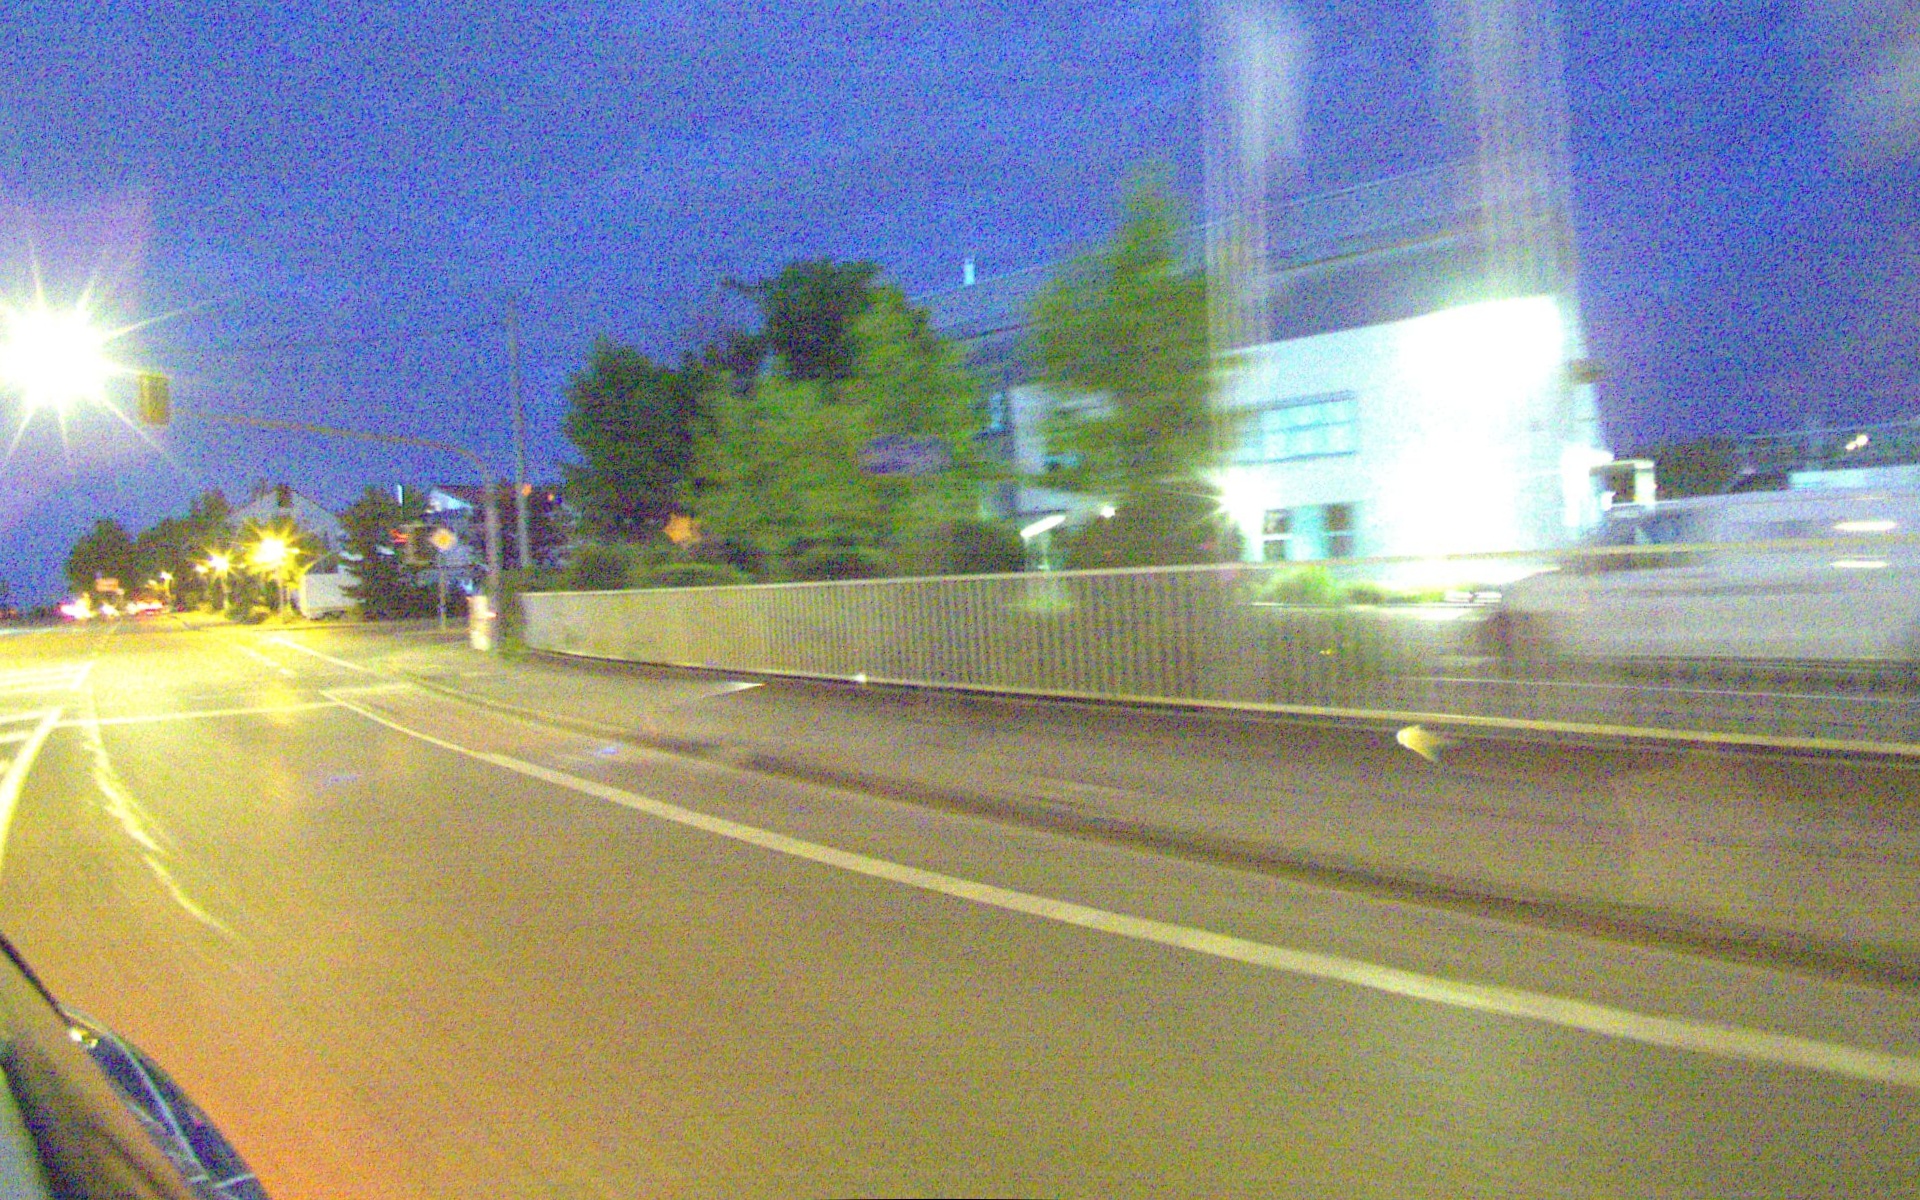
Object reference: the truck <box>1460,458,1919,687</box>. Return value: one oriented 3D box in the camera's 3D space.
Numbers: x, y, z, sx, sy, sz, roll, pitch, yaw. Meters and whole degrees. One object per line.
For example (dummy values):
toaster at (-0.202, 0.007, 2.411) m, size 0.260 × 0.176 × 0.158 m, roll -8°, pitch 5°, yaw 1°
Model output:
truck at (8.059, -0.258, 9.883) m, size 1.971 × 1.914 × 5.320 m, roll -3°, pitch 2°, yaw -44°

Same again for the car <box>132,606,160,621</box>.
car at (-89.008, 1.487, 110.632) m, size 1.827 × 1.456 × 4.920 m, roll -3°, pitch 1°, yaw -44°

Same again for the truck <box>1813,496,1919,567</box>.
truck at (36.115, -2.650, 39.239) m, size 4.518 × 2.558 × 1.975 m, roll -1°, pitch 1°, yaw 38°

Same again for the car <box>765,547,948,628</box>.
car at (-2.415, -0.346, 24.402) m, size 1.999 × 1.785 × 4.083 m, roll -1°, pitch 2°, yaw 41°

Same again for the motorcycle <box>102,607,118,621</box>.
motorcycle at (-89.620, 1.469, 106.710) m, size 2.828 × 1.314 × 0.986 m, roll -1°, pitch 2°, yaw 45°

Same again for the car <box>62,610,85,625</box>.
car at (-105.945, 2.085, 121.000) m, size 1.969 × 1.639 × 4.760 m, roll -3°, pitch 2°, yaw -40°

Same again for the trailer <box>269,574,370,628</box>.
trailer at (-33.825, 0.057, 53.495) m, size 4.294 × 2.740 × 2.003 m, roll -1°, pitch -1°, yaw -40°

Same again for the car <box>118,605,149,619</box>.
car at (-93.486, 1.345, 114.463) m, size 4.596 × 1.390 × 1.973 m, roll -1°, pitch 1°, yaw 42°

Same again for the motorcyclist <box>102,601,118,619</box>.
motorcyclist at (-89.554, 1.064, 106.618) m, size 0.834 × 1.914 × 1.121 m, roll -1°, pitch 2°, yaw 44°
